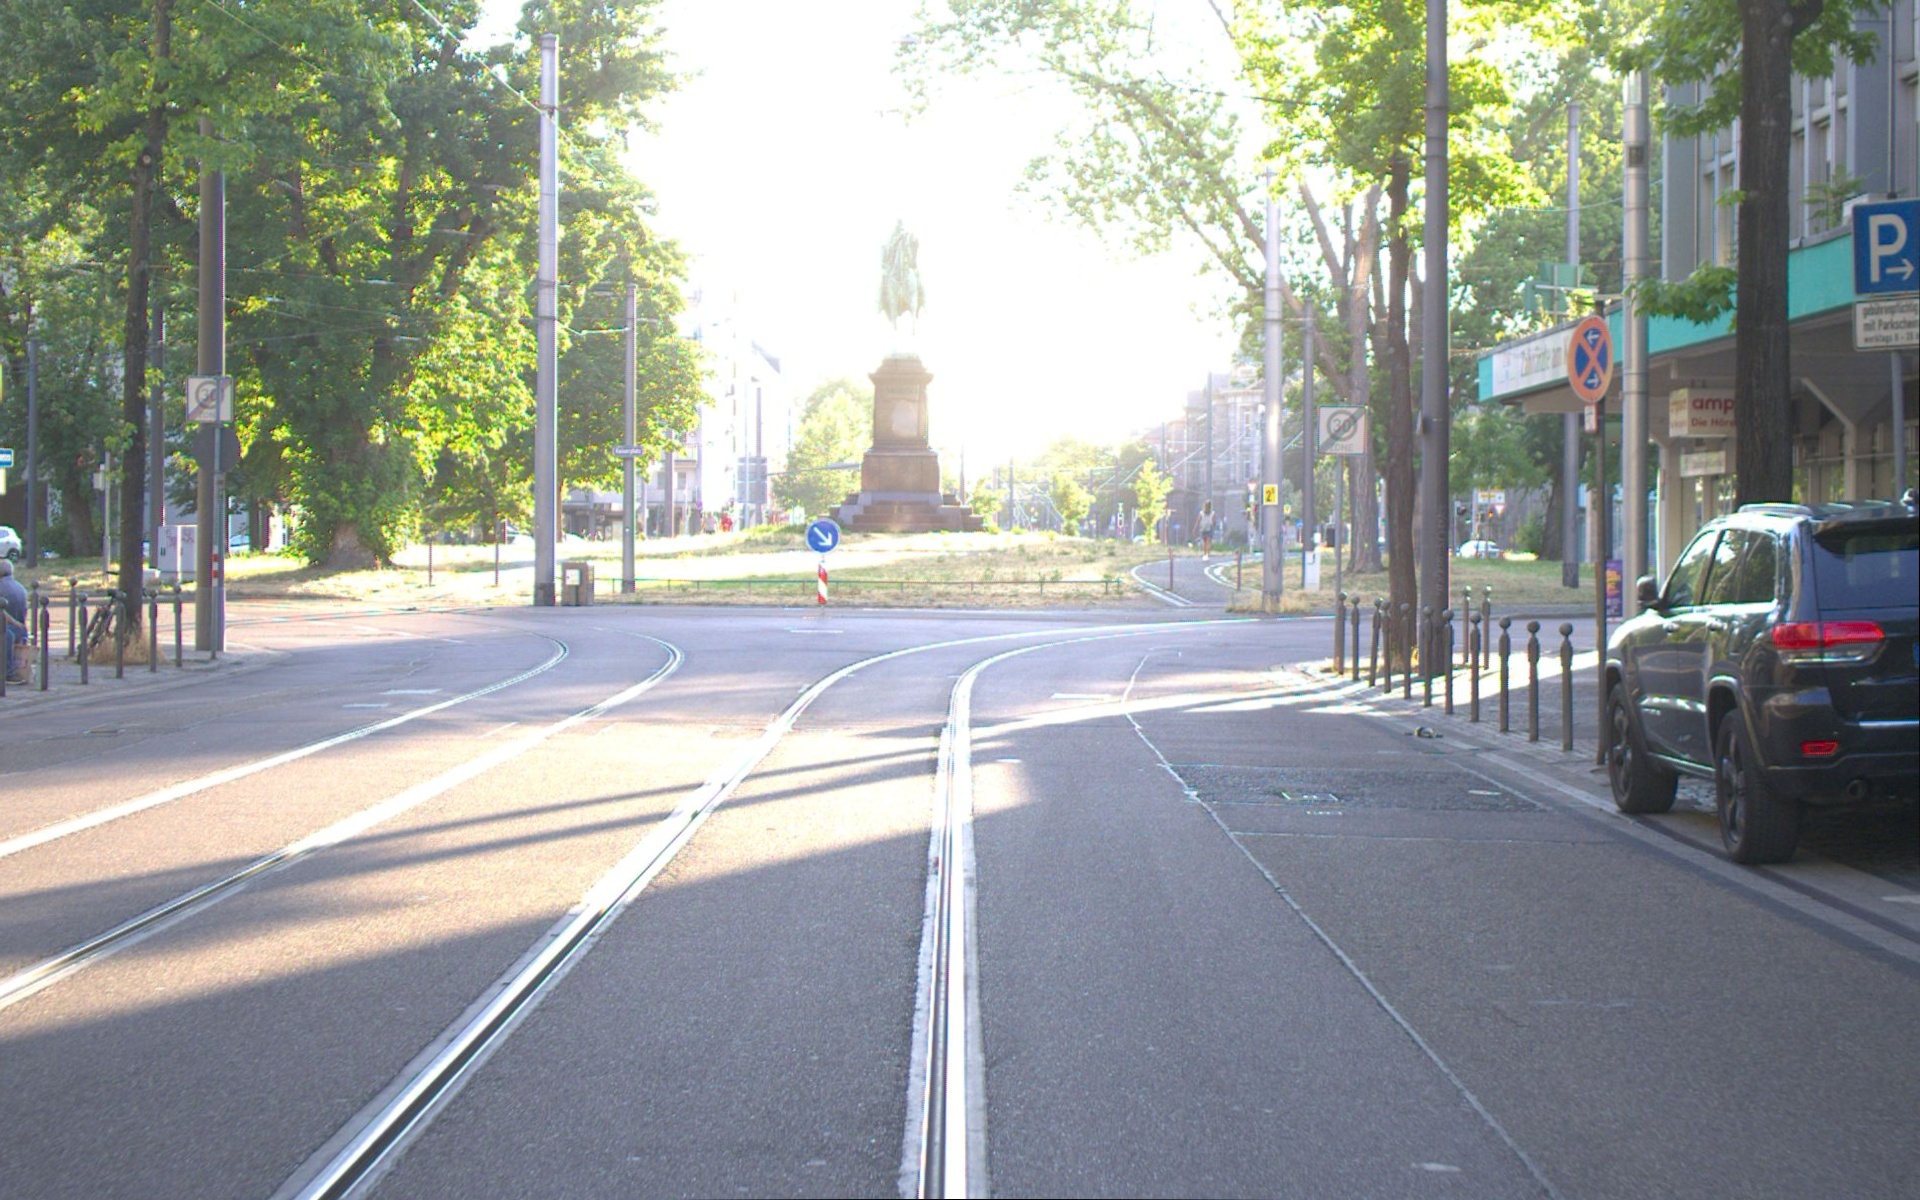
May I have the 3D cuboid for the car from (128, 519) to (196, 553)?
[{"bbox_3d":[-34.553,-2.778,149.004,1.877,1.415,3.925,0,1,3],"label":"car"}]

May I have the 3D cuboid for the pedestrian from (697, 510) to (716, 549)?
[{"bbox_3d":[-10.542,-2.927,143.125,0.769,1.600,0.638,0,1,-6],"label":"pedestrian"}]

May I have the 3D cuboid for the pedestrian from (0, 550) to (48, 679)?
[{"bbox_3d":[-9.803,0.137,35.159,0.728,1.286,0.857,1,1,-2],"label":"pedestrian"}]

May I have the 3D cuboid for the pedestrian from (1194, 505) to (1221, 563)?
[{"bbox_3d":[6.872,-1.828,95.470,0.636,1.600,0.771,0,1,13],"label":"pedestrian"}]

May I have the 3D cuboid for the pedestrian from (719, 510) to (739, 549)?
[{"bbox_3d":[-9.586,-2.914,142.723,0.769,1.600,0.638,0,1,-6],"label":"pedestrian"}]

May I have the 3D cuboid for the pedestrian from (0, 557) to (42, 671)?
[{"bbox_3d":[-10.208,0.146,36.804,0.591,1.189,0.642,1,1,-2],"label":"pedestrian"}]

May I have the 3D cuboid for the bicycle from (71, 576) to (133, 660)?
[{"bbox_3d":[-10.096,0.206,40.469,0.336,0.942,1.510,0,1,1],"label":"bicycle"}]

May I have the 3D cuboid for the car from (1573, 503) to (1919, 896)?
[{"bbox_3d":[4.701,0.397,18.321,1.938,1.753,4.680,-3,1,0],"label":"car"}]
